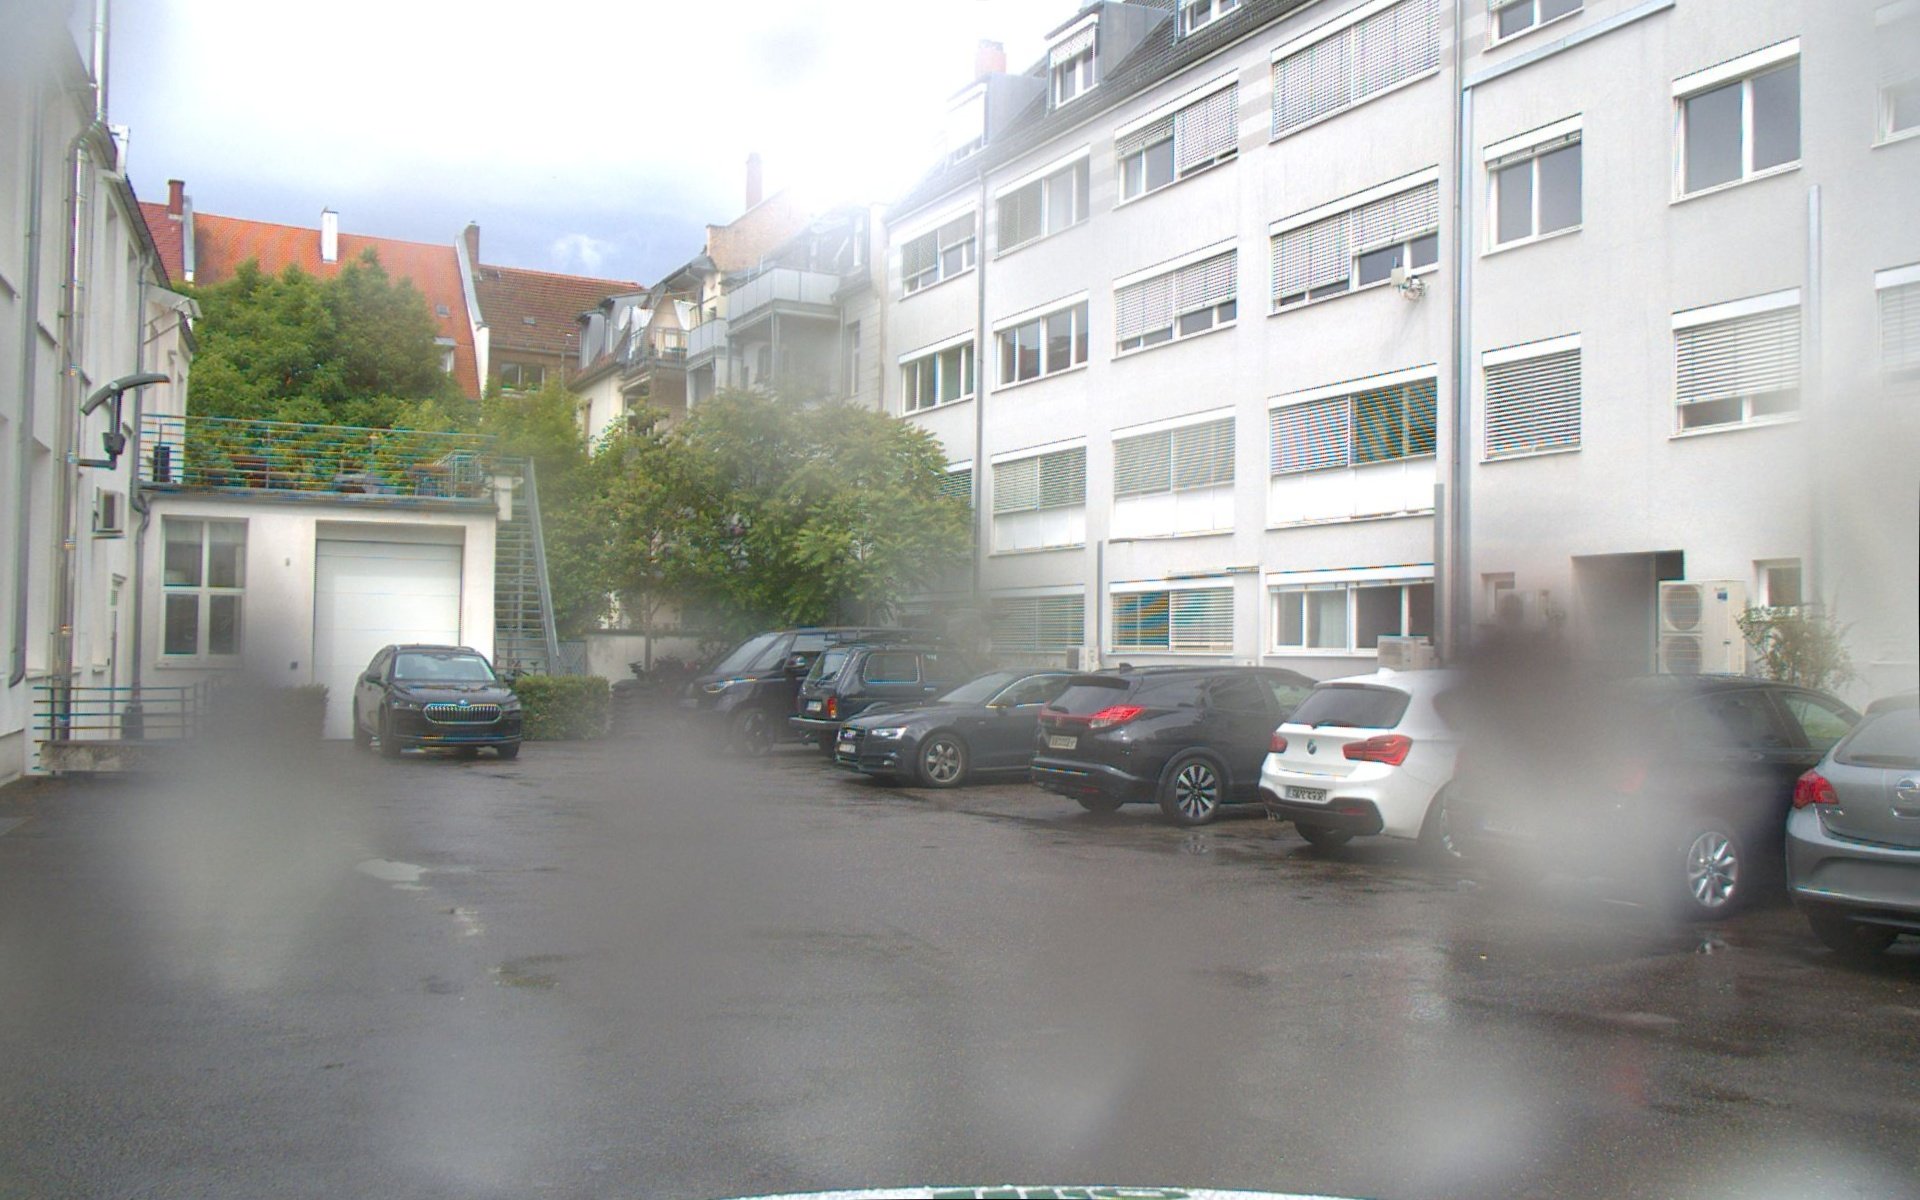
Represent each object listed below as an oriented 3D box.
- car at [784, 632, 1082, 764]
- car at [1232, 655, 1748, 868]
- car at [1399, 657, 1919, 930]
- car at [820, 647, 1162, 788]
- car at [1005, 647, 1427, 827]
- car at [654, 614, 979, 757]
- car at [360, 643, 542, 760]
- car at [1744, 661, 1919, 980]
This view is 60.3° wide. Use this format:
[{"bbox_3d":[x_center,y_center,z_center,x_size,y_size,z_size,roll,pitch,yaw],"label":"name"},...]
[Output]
[{"bbox_3d":[-0.383,1.334,23.515,3.857,1.717,1.803,0,-2,-24],"label":"car"},{"bbox_3d":[4.331,1.201,13.454,3.941,1.484,1.757,1,-2,-28],"label":"car"},{"bbox_3d":[5.049,1.155,11.067,3.940,1.427,1.757,0,-1,-28],"label":"car"},{"bbox_3d":[0.394,1.373,20.302,3.863,1.540,1.736,0,-2,-28],"label":"car"},{"bbox_3d":[2.550,1.261,16.347,3.867,1.540,1.801,0,-2,-30],"label":"car"},{"bbox_3d":[-2.202,1.239,25.742,4.592,2.038,2.200,0,-1,-33],"label":"car"},{"bbox_3d":[-7.202,1.361,23.160,1.953,1.469,3.969,2,-2,-24],"label":"car"},{"bbox_3d":[6.259,1.054,8.708,3.937,1.471,1.792,0,-1,-26],"label":"car"}]
